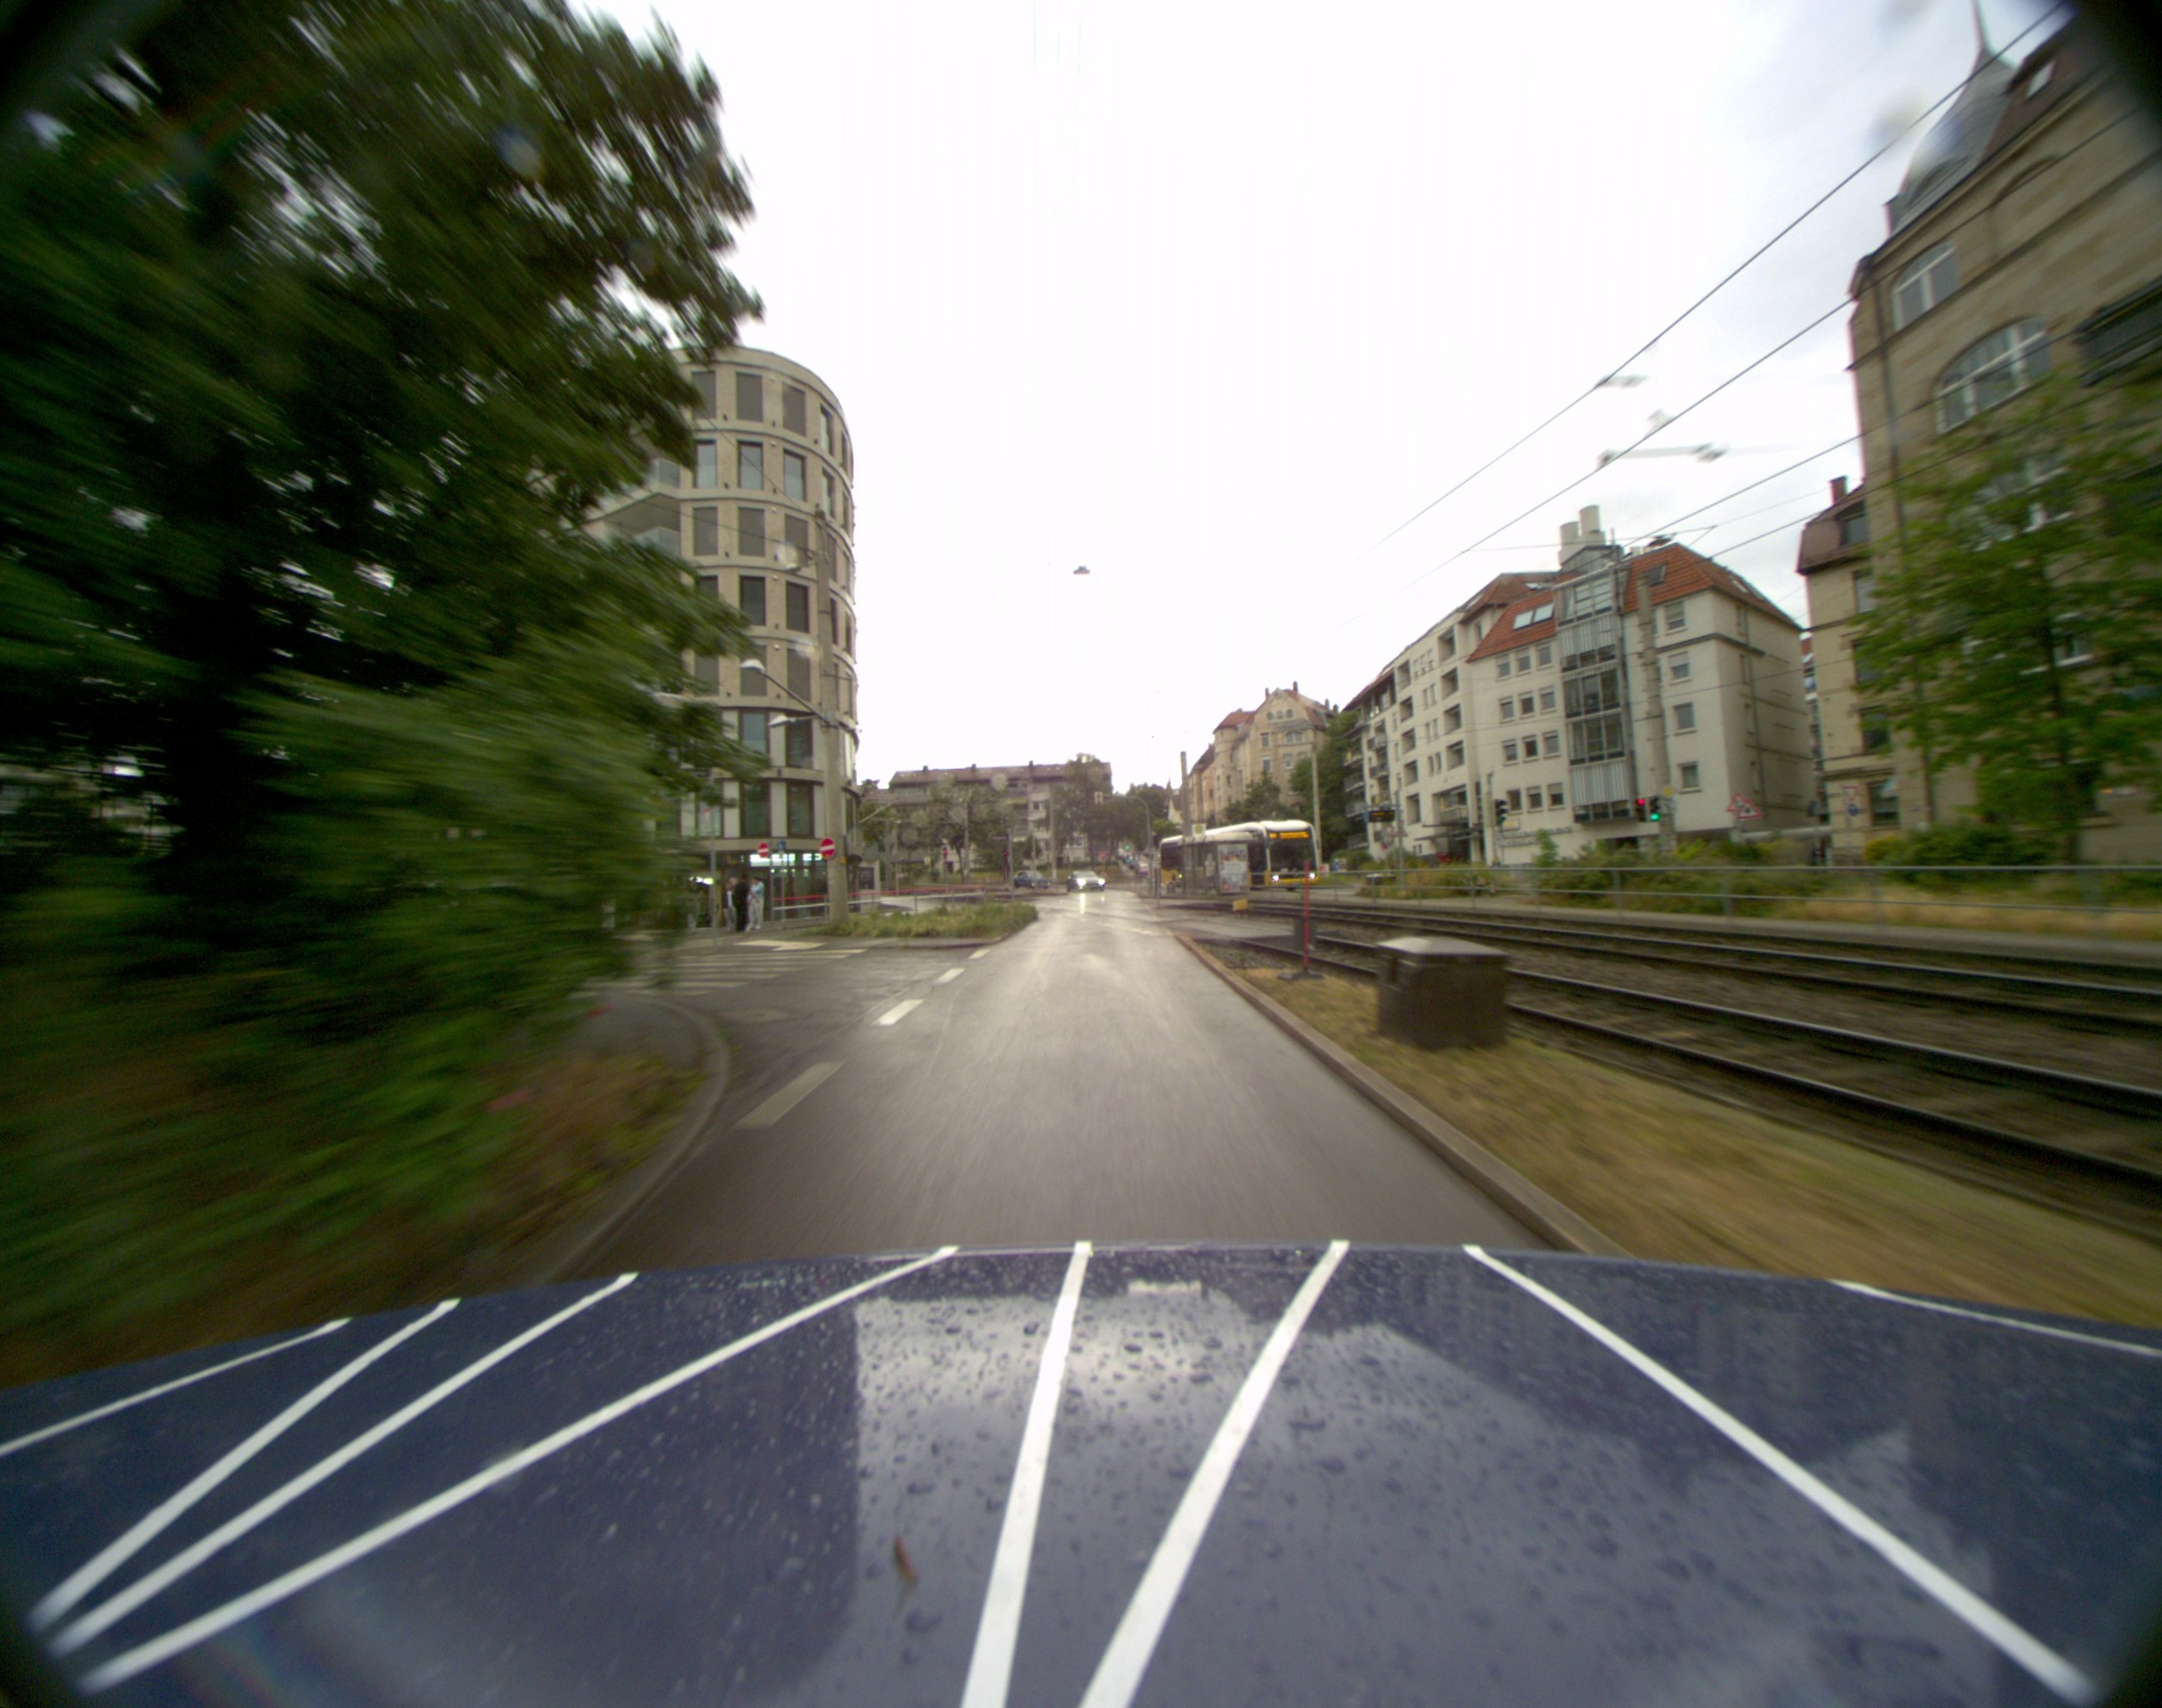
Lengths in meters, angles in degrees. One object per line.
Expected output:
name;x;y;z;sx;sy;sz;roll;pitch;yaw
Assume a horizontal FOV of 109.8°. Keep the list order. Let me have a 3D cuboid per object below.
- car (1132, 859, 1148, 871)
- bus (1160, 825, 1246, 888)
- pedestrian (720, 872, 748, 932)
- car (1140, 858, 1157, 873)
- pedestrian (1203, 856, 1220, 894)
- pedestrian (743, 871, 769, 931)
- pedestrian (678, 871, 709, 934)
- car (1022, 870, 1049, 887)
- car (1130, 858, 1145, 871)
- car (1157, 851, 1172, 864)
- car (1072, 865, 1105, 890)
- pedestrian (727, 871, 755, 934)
car;8.757;1.627;113.459;1.805;1.824;4.283;-1;0;-3
bus;7.360;0.189;47.383;2.599;3.448;9.101;-1;0;-9
pedestrian;-11.767;1.600;25.802;0.593;2.001;0.891;-1;-1;-5
car;9.101;1.562;102.583;1.998;2.001;4.001;-1;-1;2
pedestrian;6.019;0.961;35.007;0.578;1.742;0.543;-1;0;-12
pedestrian;-11.041;1.575;25.869;0.657;2.001;0.891;-1;-1;-13
pedestrian;-12.695;1.568;24.888;0.593;2.002;0.891;0;0;-5
car;-3.916;2.072;65.675;1.998;1.355;4.000;-2;-1;1
car;8.802;1.624;118.436;1.805;1.824;4.283;-1;0;-3
car;13.350;0.545;121.529;1.999;2.002;4.000;-1;0;0
car;0.544;1.610;53.114;1.811;1.606;4.307;-2;-1;6
pedestrian;-11.116;1.560;24.857;0.685;2.001;0.785;-1;-1;-14
